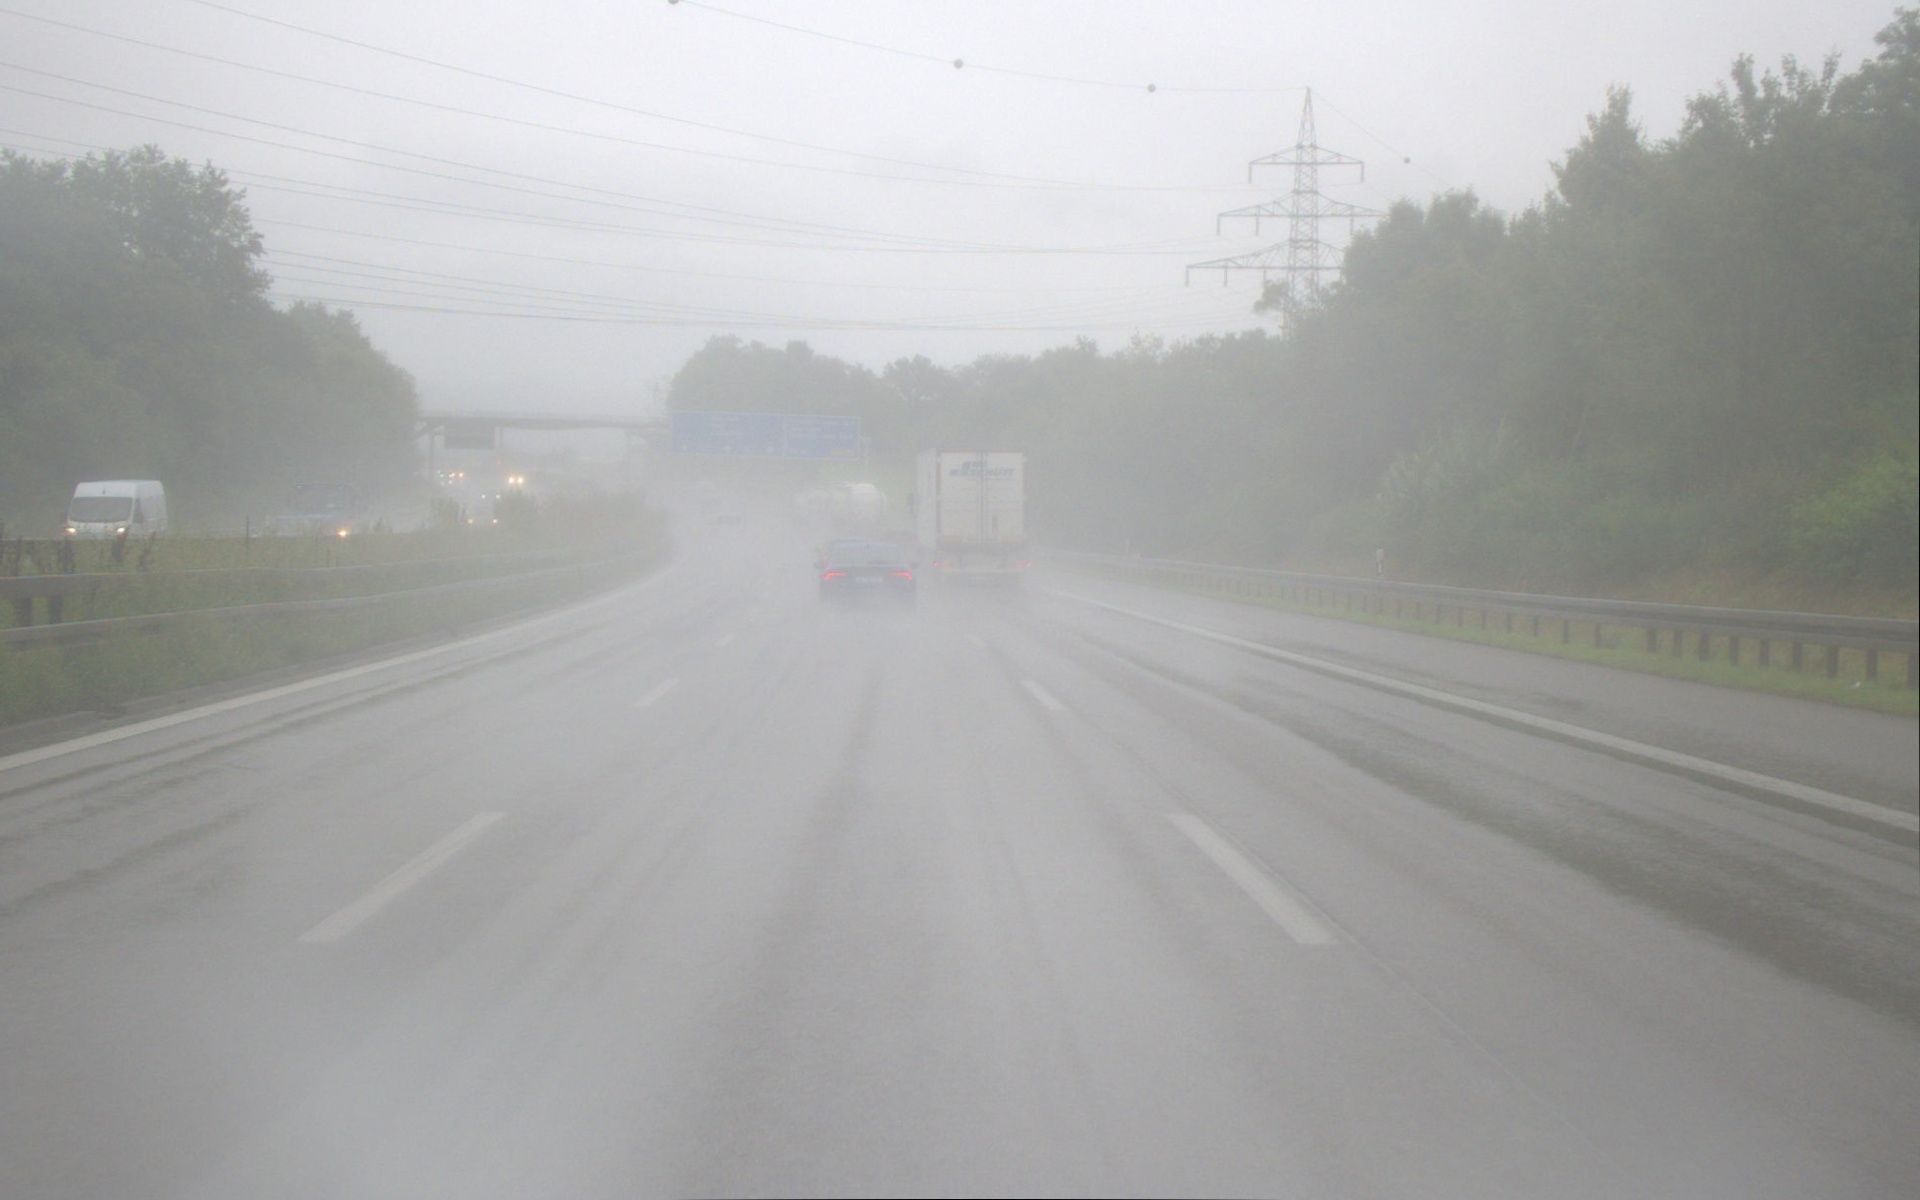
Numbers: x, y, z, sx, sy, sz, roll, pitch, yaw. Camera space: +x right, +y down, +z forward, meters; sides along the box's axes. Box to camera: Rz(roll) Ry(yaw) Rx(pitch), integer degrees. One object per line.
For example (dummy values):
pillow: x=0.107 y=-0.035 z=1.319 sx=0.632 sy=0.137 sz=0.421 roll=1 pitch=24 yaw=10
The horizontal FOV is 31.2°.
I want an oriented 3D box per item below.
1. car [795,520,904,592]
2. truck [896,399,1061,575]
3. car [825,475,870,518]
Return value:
car: x=-2.020 y=-0.828 z=63.619 sx=1.749 sy=1.208 sz=4.000 roll=3 pitch=1 yaw=1
truck: x=0.778 y=-3.410 z=105.691 sx=4.257 sy=4.955 sz=17.340 roll=0 pitch=1 yaw=3
car: x=-6.253 y=-5.760 z=190.786 sx=2.393 sy=2.264 sz=5.003 roll=2 pitch=2 yaw=-3
